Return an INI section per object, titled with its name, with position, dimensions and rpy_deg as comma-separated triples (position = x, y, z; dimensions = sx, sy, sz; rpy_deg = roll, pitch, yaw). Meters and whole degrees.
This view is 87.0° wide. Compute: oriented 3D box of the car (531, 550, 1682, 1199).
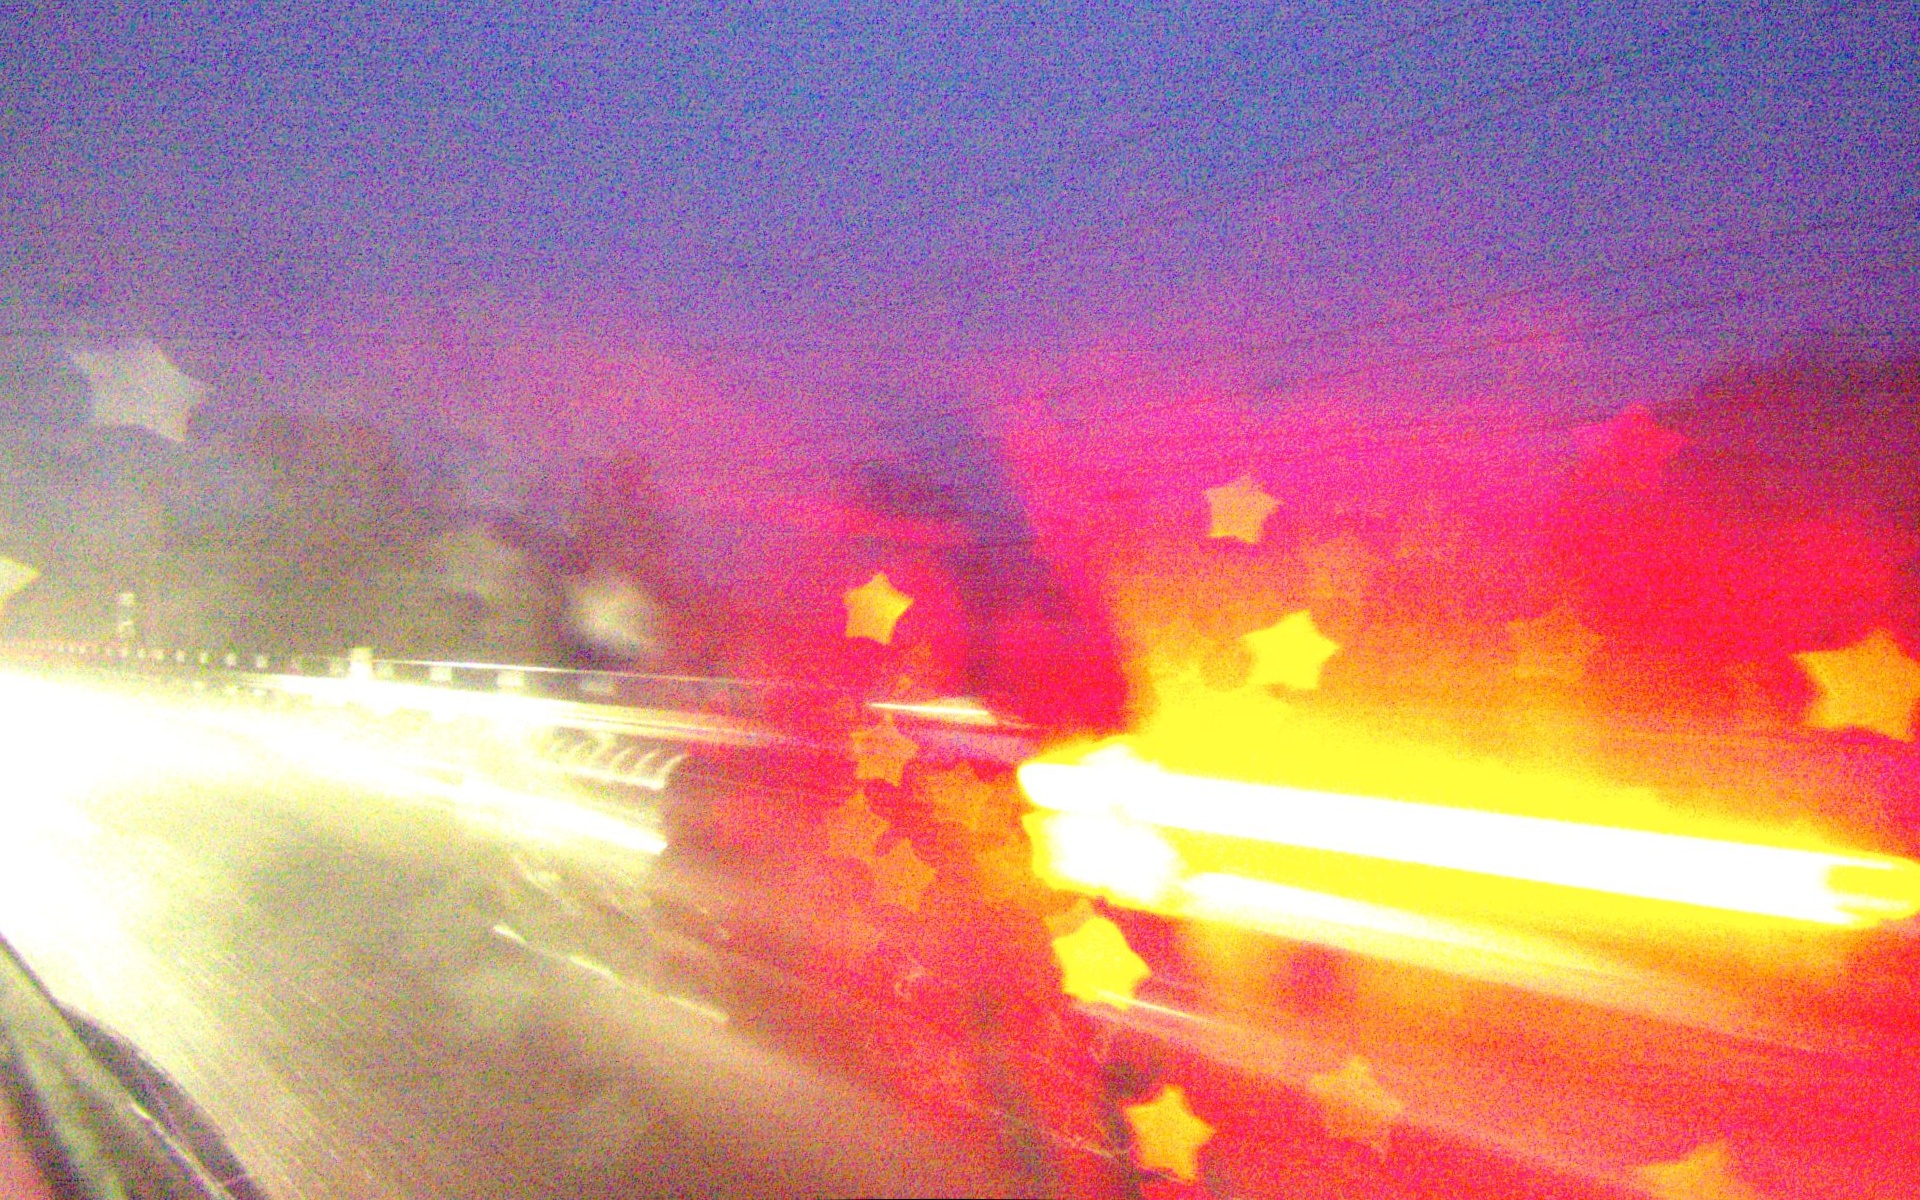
[car]
position = 0.238, 0.768, 3.720
dimensions = 3.798, 1.550, 1.776
rpy_deg = -2, -4, 40
